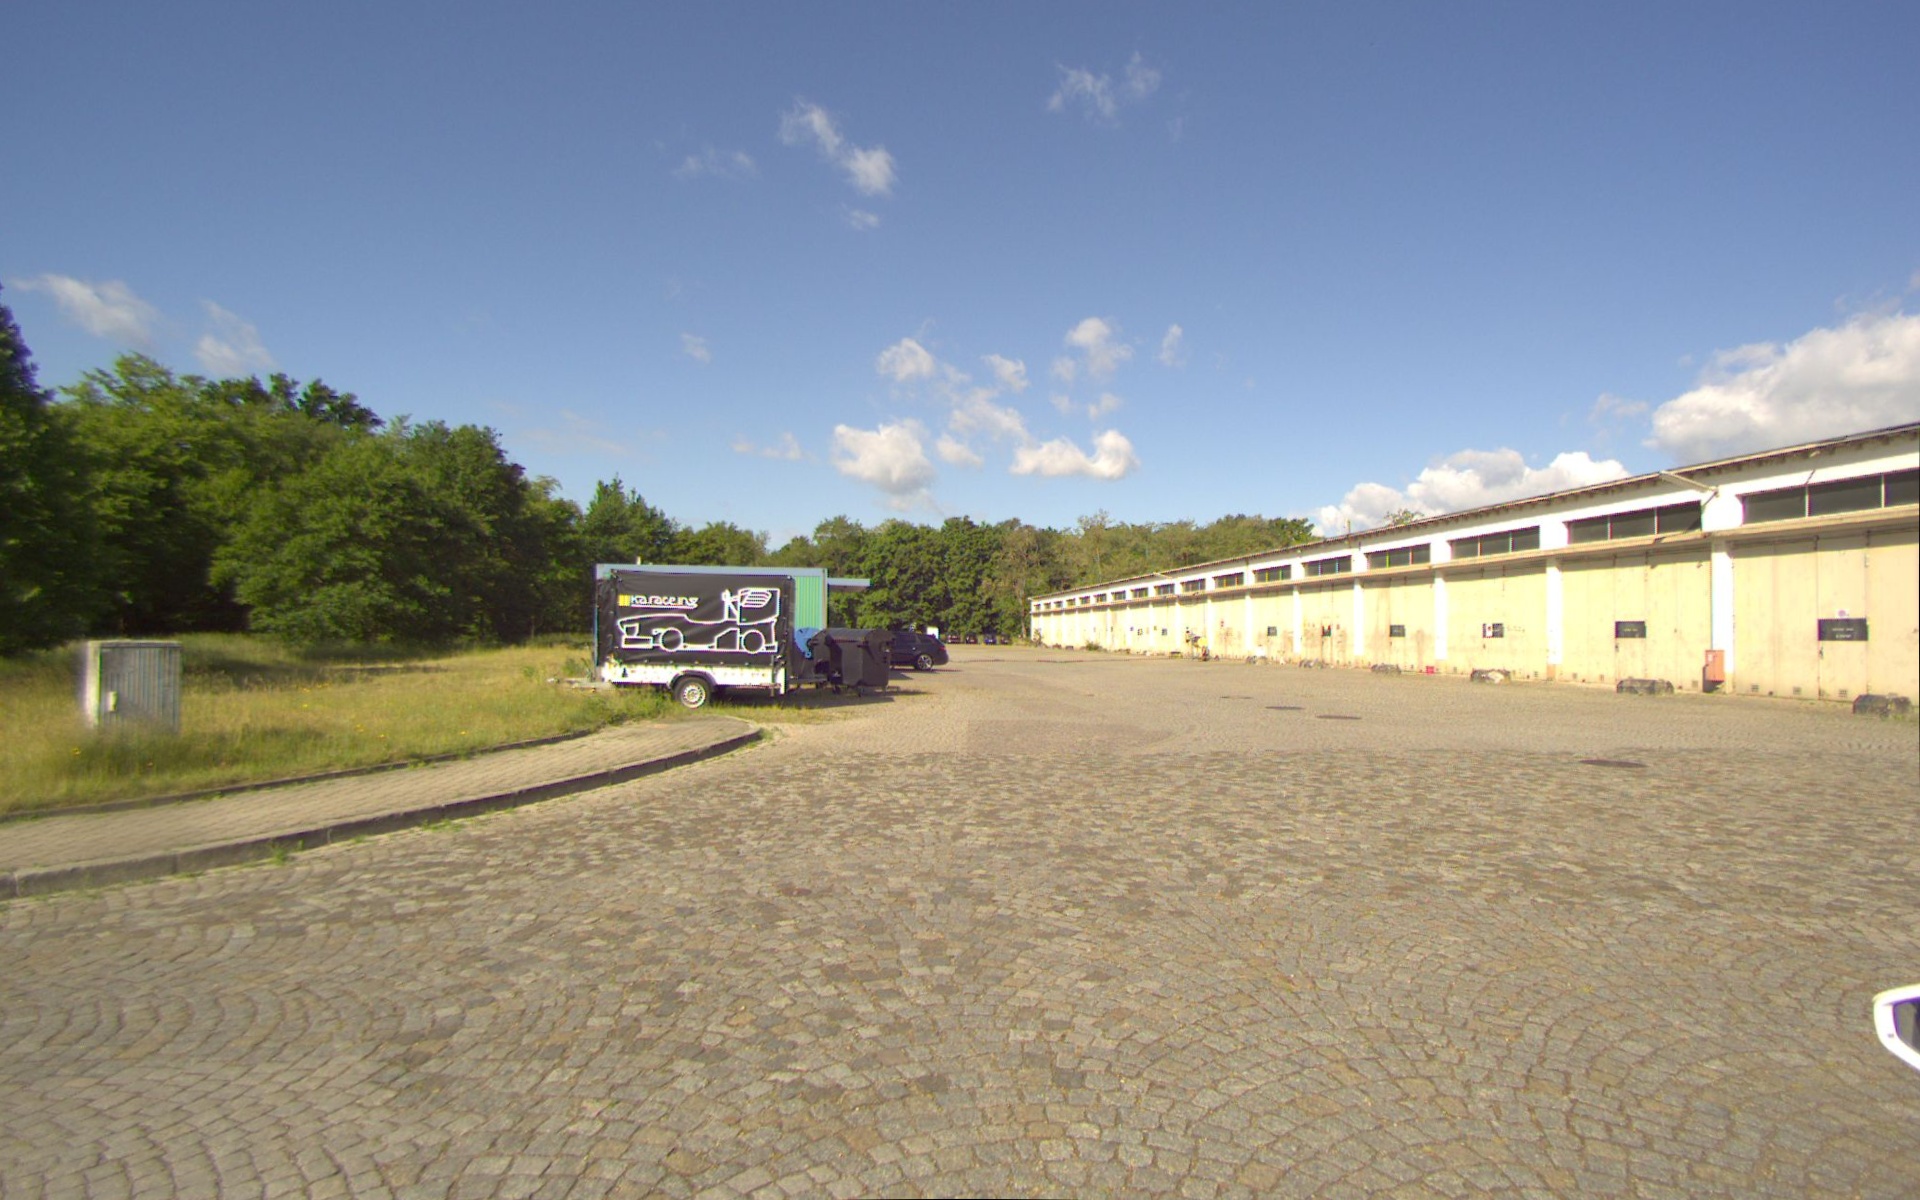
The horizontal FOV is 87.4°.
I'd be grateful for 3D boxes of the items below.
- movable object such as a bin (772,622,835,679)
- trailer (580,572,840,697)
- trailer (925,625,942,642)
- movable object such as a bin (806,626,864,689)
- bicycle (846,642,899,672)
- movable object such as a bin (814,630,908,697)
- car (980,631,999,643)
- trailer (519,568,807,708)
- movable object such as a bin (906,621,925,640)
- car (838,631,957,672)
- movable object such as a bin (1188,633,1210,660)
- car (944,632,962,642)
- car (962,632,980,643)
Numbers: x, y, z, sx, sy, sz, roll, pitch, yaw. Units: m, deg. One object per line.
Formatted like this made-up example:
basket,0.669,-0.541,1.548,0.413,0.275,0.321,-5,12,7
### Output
movable object such as a bin,-4.007,1.279,25.580,1.364,1.404,1.530,1,-2,-18
trailer,-4.978,0.731,20.601,4.886,2.385,2.092,1,-2,-10
trailer,-3.697,4.581,137.434,1.963,2.190,4.428,0,-2,-7
movable object such as a bin,-2.952,1.342,23.936,1.275,1.441,1.535,1,-2,-5
bicycle,-3.209,2.083,36.648,1.847,1.041,1.037,1,-2,-9
movable object such as a bin,-2.151,1.359,21.942,1.513,1.404,1.380,-1,-2,40
car,4.014,5.056,137.417,1.963,1.485,3.997,0,-2,-6
trailer,-5.160,0.685,18.081,4.582,2.328,2.136,1,-2,-5
movable object such as a bin,-6.186,4.187,137.924,2.198,2.692,3.995,1,-2,-9
car,-2.430,1.960,38.400,4.349,1.484,1.997,1,-2,-10
movable object such as a bin,12.946,2.502,54.454,0.861,1.419,1.100,1,-2,-7
car,-0.957,5.054,136.492,1.963,1.275,3.997,0,-2,-6
car,1.477,5.068,137.142,1.963,1.442,3.997,0,-2,-6
